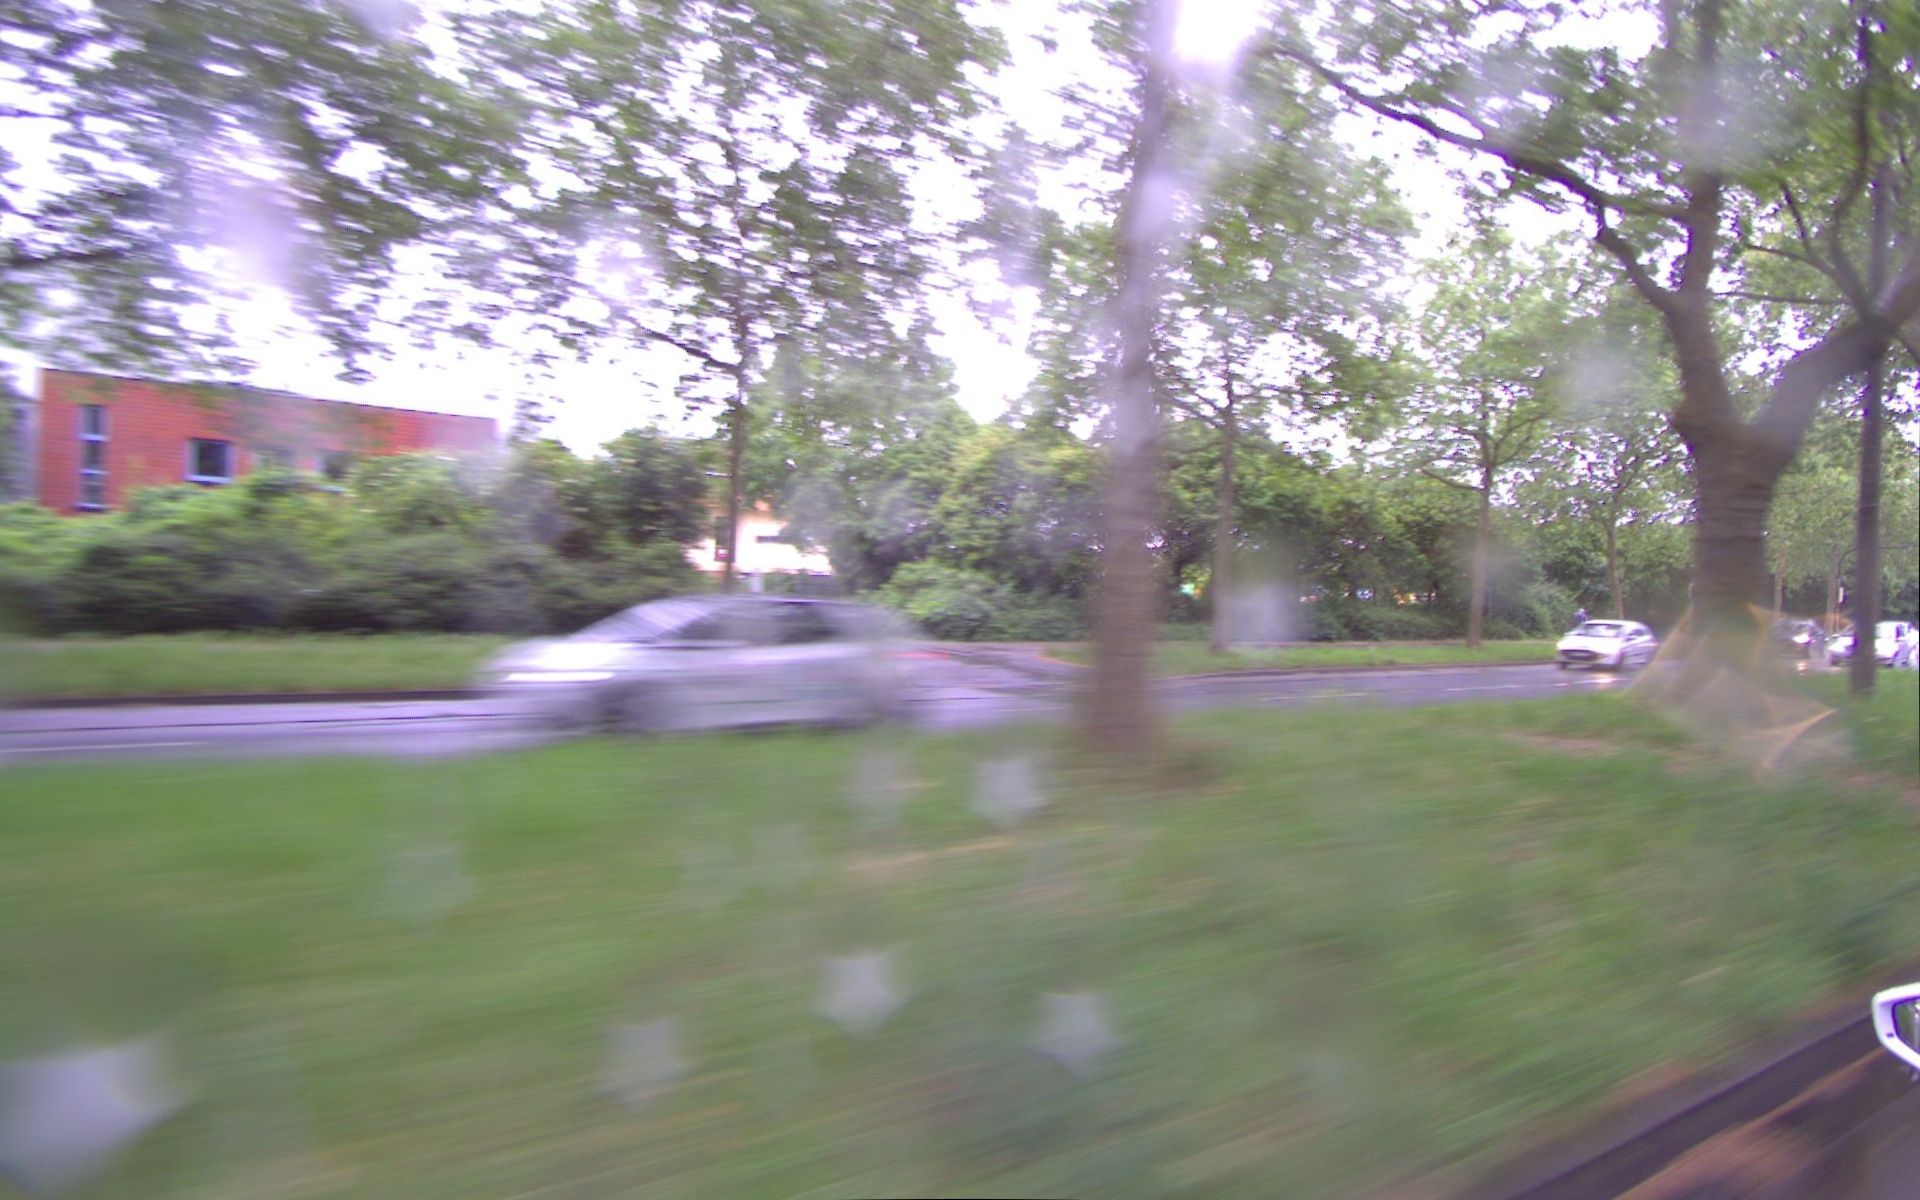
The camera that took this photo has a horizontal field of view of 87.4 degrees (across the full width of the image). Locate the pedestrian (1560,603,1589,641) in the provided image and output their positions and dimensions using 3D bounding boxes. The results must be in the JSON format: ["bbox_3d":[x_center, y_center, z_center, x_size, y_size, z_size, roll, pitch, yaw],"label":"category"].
[{"bbox_3d":[28.324,1.025,46.274,0.891,1.696,0.824,1,1,-38],"label":"pedestrian"}]

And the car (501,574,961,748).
[{"bbox_3d":[-2.295,0.561,10.528,4.363,1.496,1.733,2,1,-33],"label":"car"}]

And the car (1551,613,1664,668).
[{"bbox_3d":[19.792,1.220,30.648,4.049,1.496,1.729,2,1,-40],"label":"car"}]

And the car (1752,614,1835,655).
[{"bbox_3d":[35.818,1.479,43.138,4.168,1.612,1.731,2,1,-36],"label":"car"}]

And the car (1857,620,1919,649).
[{"bbox_3d":[52.347,1.932,56.553,4.190,1.496,1.733,2,1,-33],"label":"car"}]

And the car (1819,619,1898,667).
[{"bbox_3d":[33.491,1.582,37.405,4.298,1.612,1.727,2,1,-43],"label":"car"}]
